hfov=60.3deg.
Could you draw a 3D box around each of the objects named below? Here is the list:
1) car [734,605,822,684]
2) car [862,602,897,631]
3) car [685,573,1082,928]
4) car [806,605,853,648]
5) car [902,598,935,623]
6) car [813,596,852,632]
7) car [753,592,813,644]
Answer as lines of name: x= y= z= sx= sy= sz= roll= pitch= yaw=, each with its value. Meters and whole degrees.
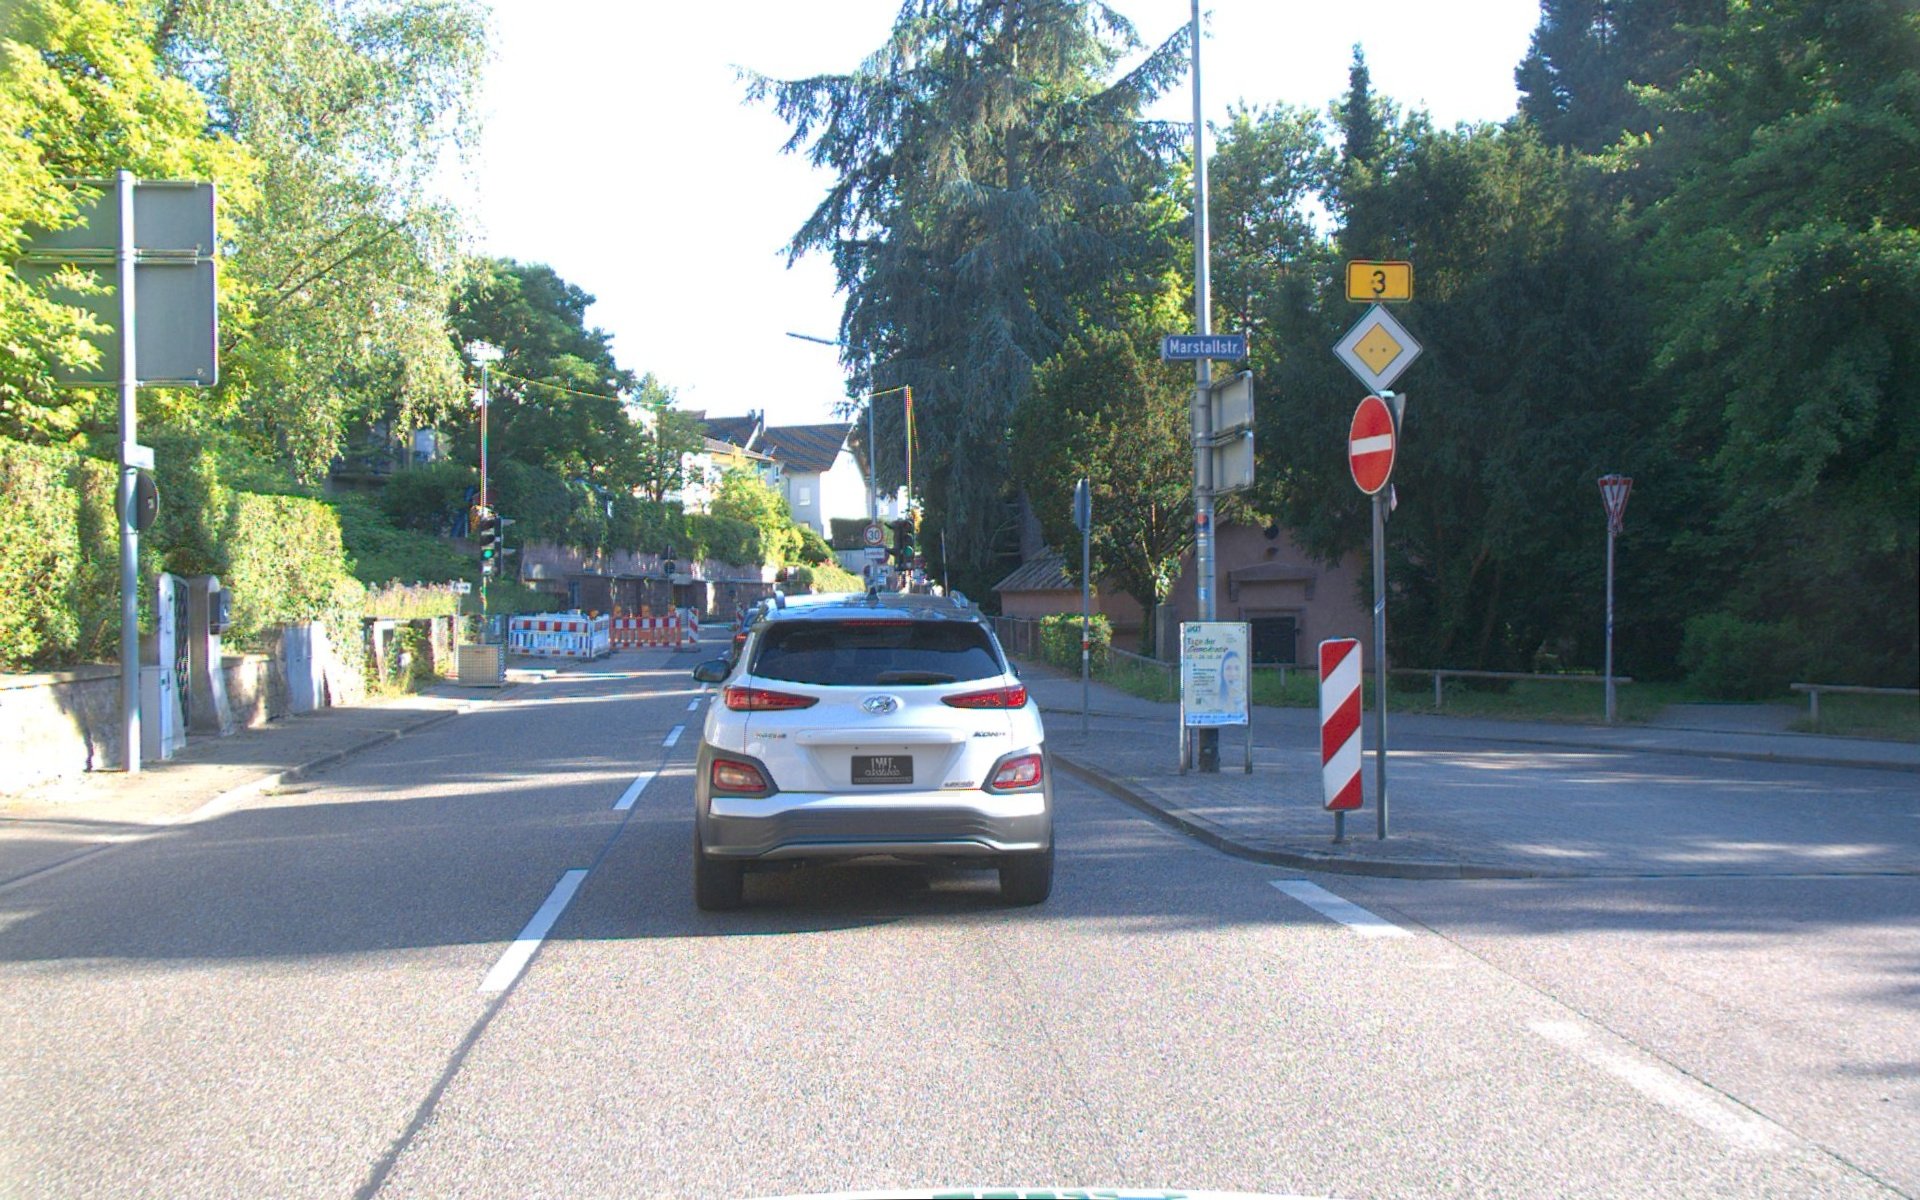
car: x=-3.809 y=0.872 z=34.222 sx=1.676 sy=1.459 sz=4.357 roll=1 pitch=0 yaw=-7
car: x=-4.878 y=1.003 z=100.604 sx=1.794 sy=1.691 sz=4.000 roll=1 pitch=0 yaw=1
car: x=-0.464 y=0.688 z=9.542 sx=1.784 sy=1.601 sz=3.997 roll=1 pitch=0 yaw=-4
car: x=-5.440 y=1.102 z=69.213 sx=1.795 sy=1.691 sz=3.998 roll=1 pitch=0 yaw=-3
car: x=-2.858 y=0.703 z=114.761 sx=1.793 sy=1.691 sz=4.002 roll=1 pitch=0 yaw=4
car: x=-6.485 y=0.683 z=84.552 sx=1.794 sy=1.771 sz=3.999 roll=1 pitch=0 yaw=-2
car: x=-5.642 y=0.549 z=52.565 sx=1.771 sy=1.564 sz=3.994 roll=1 pitch=0 yaw=-7
